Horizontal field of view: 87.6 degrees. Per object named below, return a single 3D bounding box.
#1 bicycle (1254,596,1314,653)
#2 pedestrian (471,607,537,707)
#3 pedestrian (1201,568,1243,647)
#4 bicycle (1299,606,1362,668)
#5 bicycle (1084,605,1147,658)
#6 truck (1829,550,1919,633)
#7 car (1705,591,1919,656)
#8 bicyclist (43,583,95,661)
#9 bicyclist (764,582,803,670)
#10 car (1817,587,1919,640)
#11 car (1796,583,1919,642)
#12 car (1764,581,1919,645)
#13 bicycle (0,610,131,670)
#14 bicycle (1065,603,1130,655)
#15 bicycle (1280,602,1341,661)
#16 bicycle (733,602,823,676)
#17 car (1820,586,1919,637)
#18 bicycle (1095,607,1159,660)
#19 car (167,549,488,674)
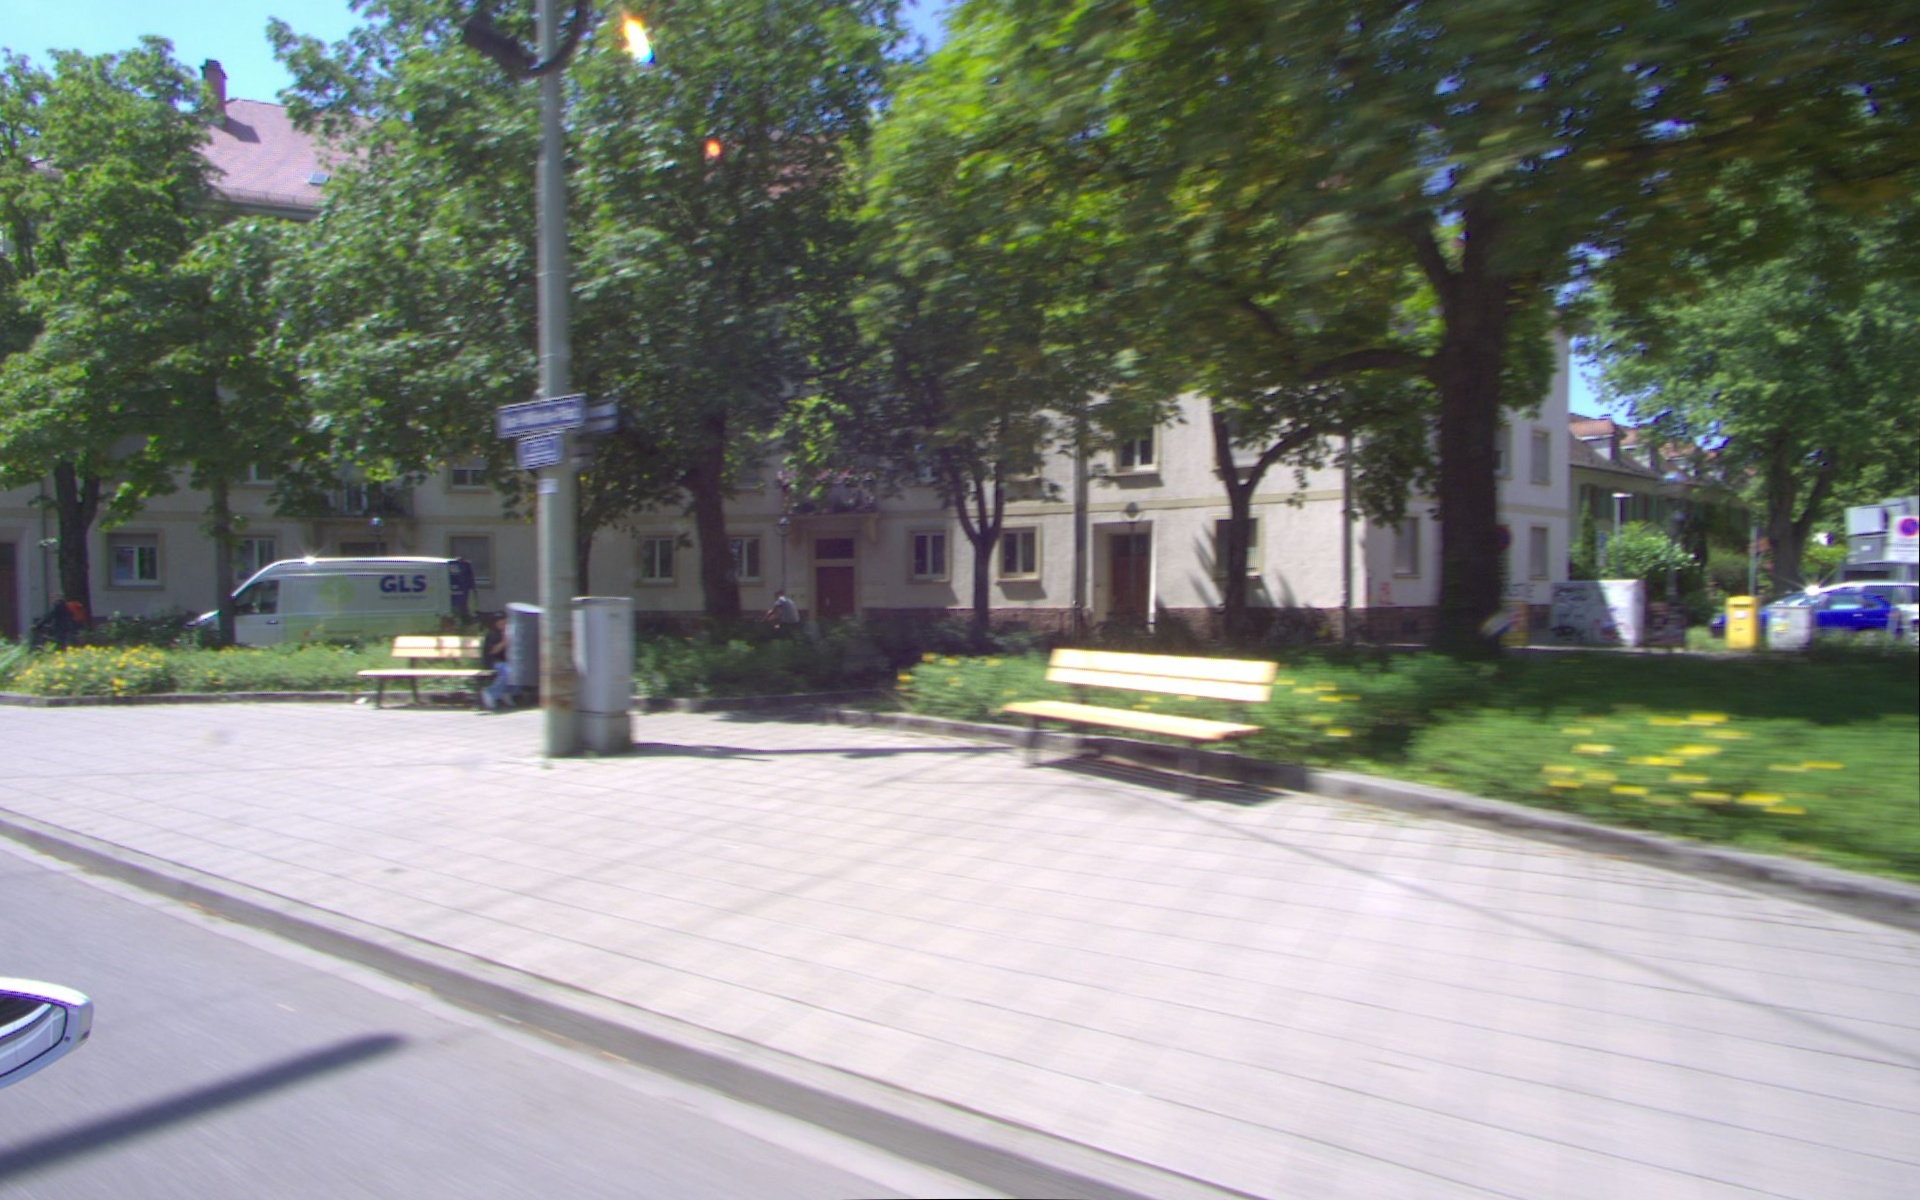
[{"bbox_3d":[7.755,0.564,23.908,0.541,1.317,2.140,0,0,43],"label":"bicycle"},{"bbox_3d":[-5.329,0.653,11.710,0.472,1.107,0.507,2,4,37],"label":"pedestrian"},{"bbox_3d":[6.959,0.201,26.621,0.794,2.040,0.771,0,0,-22],"label":"pedestrian"},{"bbox_3d":[8.203,0.786,22.142,0.541,1.317,2.140,0,0,43],"label":"bicycle"},{"bbox_3d":[4.140,0.807,26.511,0.509,1.365,2.224,0,0,43],"label":"bicycle"},{"bbox_3d":[38.357,-0.308,38.820,1.912,3.196,6.774,0,1,-37],"label":"truck"},{"bbox_3d":[21.200,0.538,25.022,1.707,1.449,3.856,0,1,-39],"label":"car"},{"bbox_3d":[-19.351,0.467,21.767,0.685,1.668,0.578,0,0,-25],"label":"bicyclist"},{"bbox_3d":[-3.728,0.541,21.136,0.527,1.823,0.599,0,0,37],"label":"bicyclist"},{"bbox_3d":[30.920,0.426,32.687,1.707,1.674,4.229,0,1,-39],"label":"car"},{"bbox_3d":[27.420,0.346,29.325,1.707,1.674,4.229,0,1,-39],"label":"car"},{"bbox_3d":[25.250,0.327,27.858,1.707,1.674,4.229,0,1,-39],"label":"car"},{"bbox_3d":[-19.398,0.840,21.740,2.055,1.253,0.578,0,0,-26],"label":"bicycle"},{"bbox_3d":[3.714,0.763,26.947,0.509,1.362,2.308,0,0,43],"label":"bicycle"},{"bbox_3d":[8.168,0.712,23.272,0.541,1.317,2.140,0,0,43],"label":"bicycle"},{"bbox_3d":[-3.868,0.801,21.205,2.140,1.505,0.589,0,0,38],"label":"bicycle"},{"bbox_3d":[32.163,0.391,34.029,1.707,1.674,4.229,0,1,-39],"label":"car"},{"bbox_3d":[4.323,0.829,25.741,0.541,1.317,2.140,0,0,43],"label":"bicycle"},{"bbox_3d":[-13.969,0.244,22.468,5.739,2.624,1.999,0,0,-8],"label":"car"}]
